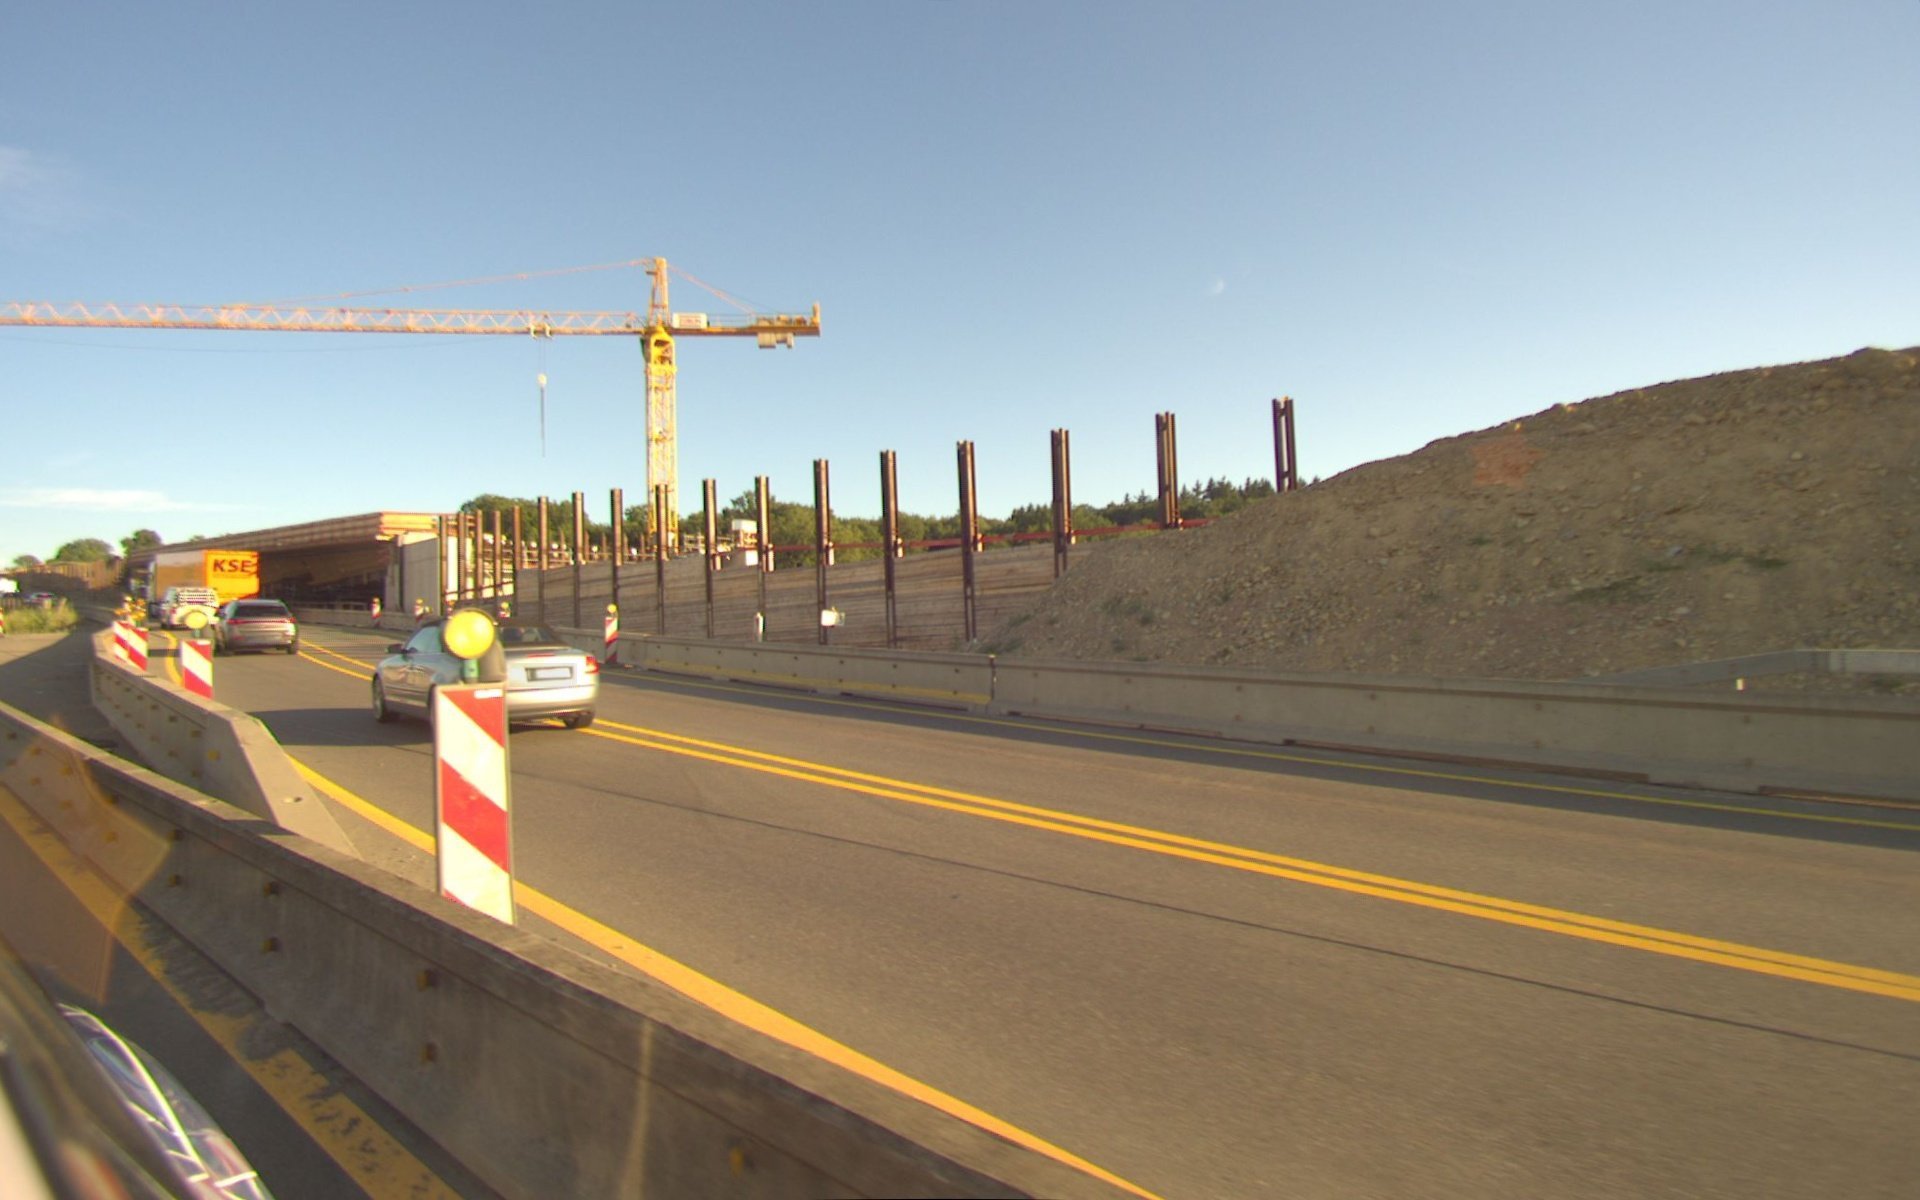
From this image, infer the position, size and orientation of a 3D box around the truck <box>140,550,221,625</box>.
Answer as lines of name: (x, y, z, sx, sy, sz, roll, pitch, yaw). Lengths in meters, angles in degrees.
truck: (-49.786, -0.775, 64.525, 8.330, 4.504, 2.556, 0, 1, 42)

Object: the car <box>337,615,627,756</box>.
car: (-6.110, 0.909, 12.641, 4.637, 1.367, 1.768, 0, 1, 44)

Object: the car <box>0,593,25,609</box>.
car: (-91.984, 0.116, 98.073, 4.000, 1.401, 1.643, 1, 5, 43)

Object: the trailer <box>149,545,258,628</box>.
trailer: (-45.736, -0.781, 60.925, 14.133, 4.504, 2.556, 0, 1, 42)

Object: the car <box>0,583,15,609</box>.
car: (-116.354, -0.501, 122.252, 6.156, 2.989, 2.305, 0, 1, 39)

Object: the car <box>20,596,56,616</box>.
car: (-77.932, 0.486, 85.527, 4.659, 1.612, 1.712, 1, 1, 41)

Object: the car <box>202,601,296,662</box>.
car: (-21.470, 0.887, 30.492, 1.767, 1.631, 4.880, -2, 1, -41)

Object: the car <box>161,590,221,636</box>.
car: (-36.451, 0.552, 47.941, 1.969, 2.029, 5.265, -1, 1, -40)
